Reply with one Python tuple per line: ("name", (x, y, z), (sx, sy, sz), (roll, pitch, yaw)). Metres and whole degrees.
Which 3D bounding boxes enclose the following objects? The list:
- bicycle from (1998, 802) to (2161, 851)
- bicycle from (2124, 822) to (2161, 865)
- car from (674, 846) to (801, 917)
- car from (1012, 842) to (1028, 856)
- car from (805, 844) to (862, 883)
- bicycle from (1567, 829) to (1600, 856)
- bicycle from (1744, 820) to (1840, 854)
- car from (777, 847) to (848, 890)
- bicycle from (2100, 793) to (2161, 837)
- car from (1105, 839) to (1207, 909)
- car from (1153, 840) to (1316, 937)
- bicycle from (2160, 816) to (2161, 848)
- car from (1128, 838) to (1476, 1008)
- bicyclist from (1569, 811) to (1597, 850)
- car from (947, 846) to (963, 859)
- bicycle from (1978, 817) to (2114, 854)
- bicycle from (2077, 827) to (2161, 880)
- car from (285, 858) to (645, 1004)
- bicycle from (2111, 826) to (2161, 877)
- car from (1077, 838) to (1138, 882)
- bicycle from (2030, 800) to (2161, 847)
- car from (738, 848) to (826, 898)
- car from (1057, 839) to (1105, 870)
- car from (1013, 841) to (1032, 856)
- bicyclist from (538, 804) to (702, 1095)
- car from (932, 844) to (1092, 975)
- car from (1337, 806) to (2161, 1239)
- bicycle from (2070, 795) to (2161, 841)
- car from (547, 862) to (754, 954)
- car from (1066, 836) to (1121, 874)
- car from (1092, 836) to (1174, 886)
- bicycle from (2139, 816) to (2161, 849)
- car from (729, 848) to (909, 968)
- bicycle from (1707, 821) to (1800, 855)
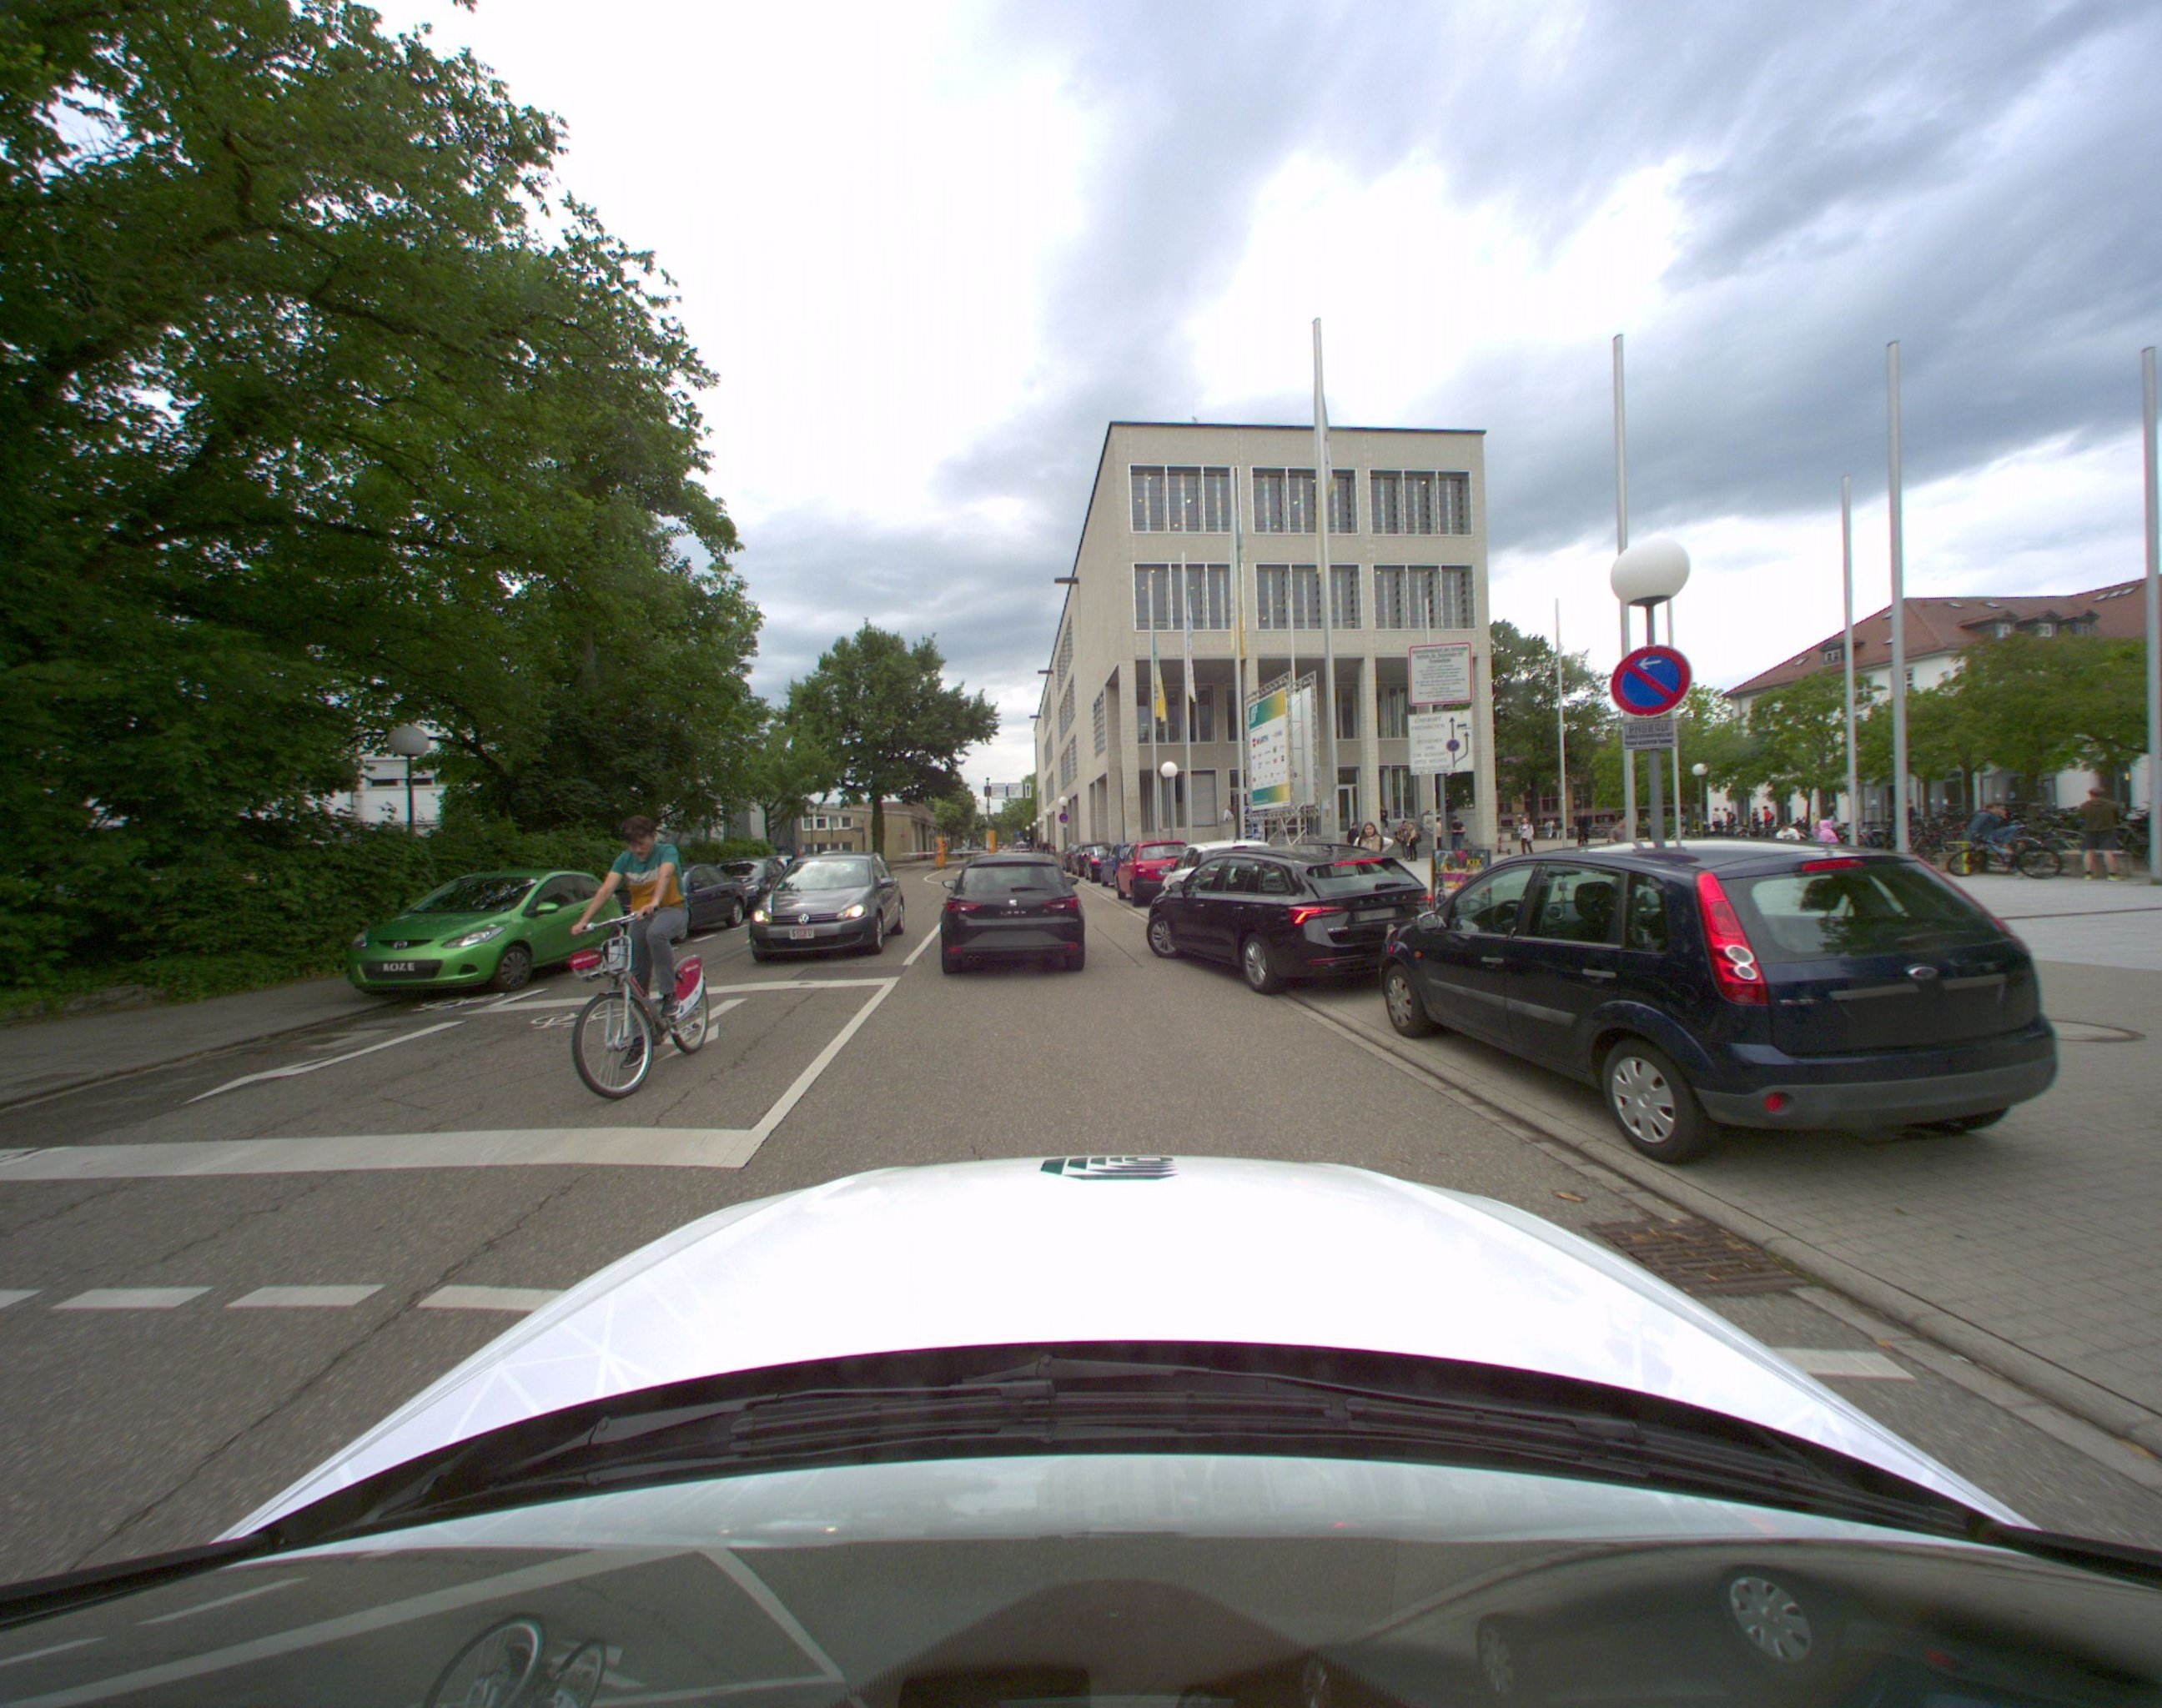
("bicycle", (25.808, -0.743, 20.966), (0.744, 1.169, 3.105), (-1, 3, -4))
("bicycle", (30.273, -0.237, 21.724), (0.744, 1.169, 3.105), (-1, 3, -4))
("car", (-8.974, 0.627, 21.729), (1.795, 1.560, 4.522), (-2, 1, -6))
("car", (-8.472, -0.674, 112.753), (1.991, 1.782, 4.419), (-3, 1, -6))
("car", (-10.895, 0.371, 36.096), (1.714, 1.586, 3.870), (-1, 1, -6))
("bicycle", (21.697, -0.509, 35.210), (0.866, 1.093, 1.810), (-1, 1, 20))
("bicycle", (26.576, -0.679, 30.541), (0.744, 1.169, 3.105), (-1, 3, -4))
("car", (-10.181, 0.504, 31.134), (1.762, 1.411, 3.999), (-2, 1, -7))
("bicycle", (29.150, -1.025, 21.374), (0.744, 1.169, 3.105), (-1, 3, -4))
("car", (1.771, 0.412, 20.542), (1.710, 1.473, 4.266), (-4, 1, -5))
("car", (2.590, 0.515, 14.680), (1.858, 1.453, 3.851), (-2, 1, -6))
("bicycle", (39.457, -0.725, 27.876), (0.744, 1.169, 3.104), (-1, 3, -5))
("car", (2.246, 0.594, 9.715), (1.865, 1.401, 4.453), (-4, 2, -17))
("bicyclist", (21.676, -1.013, 35.196), (0.866, 1.641, 0.872), (-1, 1, 20))
("car", (-16.544, -0.266, 107.029), (1.768, 1.601, 3.991), (-1, 1, -7))
("bicycle", (32.686, -0.669, 27.687), (0.744, 1.169, 3.104), (-1, 3, -5))
("bicycle", (21.915, -0.015, 16.644), (0.457, 1.049, 1.923), (-3, 1, -20))
("car", (-7.901, 0.854, 11.086), (1.794, 1.469, 4.243), (-2, 1, -4))
("bicycle", (22.835, -0.058, 16.794), (0.457, 1.049, 1.923), (-3, 1, -19))
("car", (0.946, 0.172, 31.325), (1.845, 1.441, 4.413), (-2, 2, -4))
("bicycle", (26.951, -0.775, 21.199), (0.744, 1.170, 3.104), (-2, 1, -4))
("car", (-9.780, 0.560, 26.916), (1.759, 1.471, 3.817), (-2, 1, -6))
("car", (-0.092, 0.018, 41.980), (1.991, 1.452, 4.913), (-2, 1, -5))
("car", (-6.874, -0.587, 96.018), (1.991, 1.622, 4.418), (-3, 0, -6))
("bicyclist", (-3.097, 0.585, 5.571), (0.658, 1.779, 0.979), (-2, 0, -13))
("car", (-0.990, 0.597, 11.261), (1.780, 1.419, 4.121), (-1, 1, -6))
("car", (3.246, 0.612, 5.129), (1.619, 1.501, 4.099), (-4, 0, -5))
("bicycle", (28.132, -0.949, 21.250), (0.744, 1.170, 3.104), (-2, 1, -4))
("car", (-8.147, 0.930, 15.948), (1.793, 1.408, 4.334), (-2, 1, -2))
("car", (0.468, 0.007, 36.181), (1.816, 1.443, 4.510), (-3, 1, -6))
("car", (1.565, 0.191, 26.192), (1.694, 1.411, 4.363), (-3, 1, -9))
("bicycle", (38.595, -0.714, 27.782), (0.744, 1.169, 3.104), (-1, 3, -5))
("car", (-3.870, 0.692, 12.772), (1.780, 1.497, 4.160), (-2, 1, -6))
("bicycle", (25.015, -0.628, 30.392), (0.744, 1.169, 3.105), (-1, 3, -4))
